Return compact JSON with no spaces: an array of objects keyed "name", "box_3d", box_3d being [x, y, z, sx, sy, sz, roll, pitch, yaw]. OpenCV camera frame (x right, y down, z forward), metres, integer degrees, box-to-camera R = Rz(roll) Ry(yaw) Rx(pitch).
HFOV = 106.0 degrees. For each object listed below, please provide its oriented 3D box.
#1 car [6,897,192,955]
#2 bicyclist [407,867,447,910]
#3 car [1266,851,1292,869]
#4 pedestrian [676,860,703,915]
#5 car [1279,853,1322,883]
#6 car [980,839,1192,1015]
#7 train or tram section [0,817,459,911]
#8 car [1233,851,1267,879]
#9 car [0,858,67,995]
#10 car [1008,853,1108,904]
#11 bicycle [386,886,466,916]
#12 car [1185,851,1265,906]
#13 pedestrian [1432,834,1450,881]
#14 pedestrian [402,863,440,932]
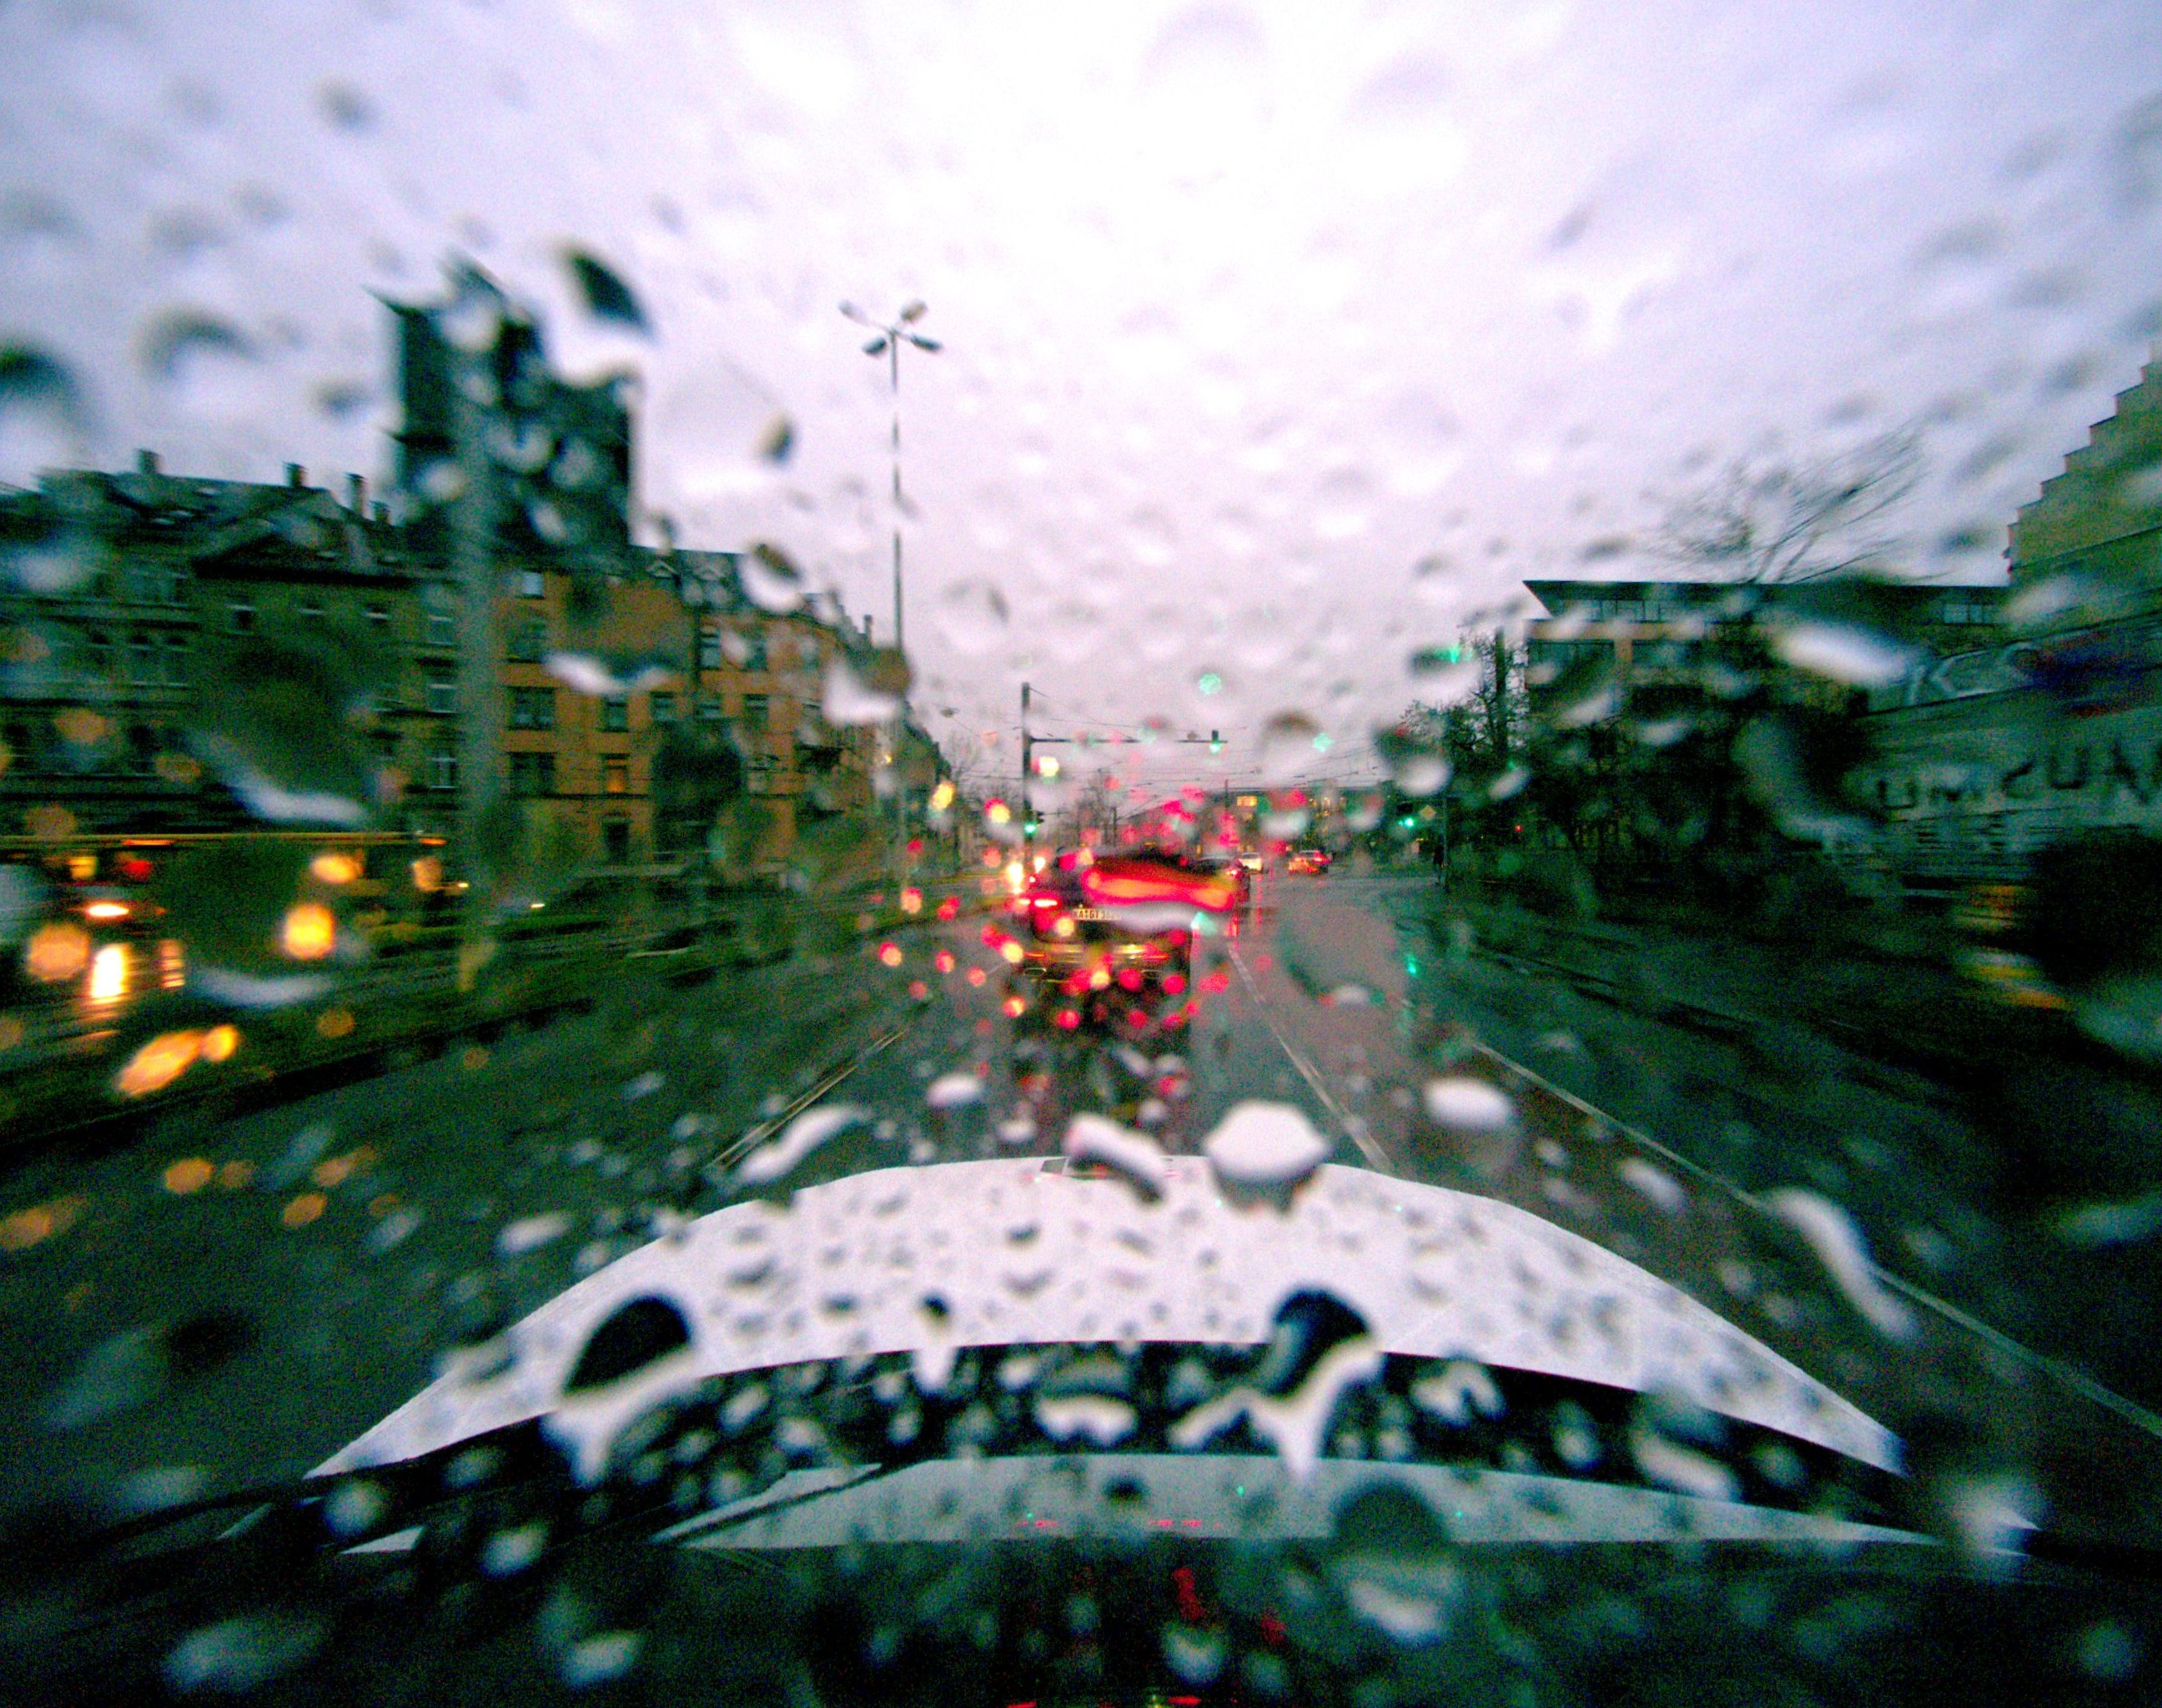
[{"name":"car","box_3d":[-27.201,1.955,22.606,3.814,1.450,1.654,-1,0,11]},{"name":"bicyclist","box_3d":[-21.460,1.120,26.731,0.973,1.390,0.501,-1,0,-34]},{"name":"car","box_3d":[15.950,0.466,65.862,1.850,1.409,3.956,-1,0,11]},{"name":"pedestrian","box_3d":[-12.740,1.077,26.492,0.463,1.772,0.631,-1,-1,16]},{"name":"car","box_3d":[13.729,0.850,50.832,1.976,1.765,4.022,-1,0,23]},{"name":"car","box_3d":[0.072,0.687,9.761,1.984,1.616,4.000,-2,0,0]},{"name":"train or tram section","box_3d":[-33.324,0.336,30.171,16.283,3.188,3.153,0,0,-15]},{"name":"car","box_3d":[11.641,0.735,55.917,1.978,1.765,4.017,-1,0,16]},{"name":"car","box_3d":[-15.777,1.055,10.127,2.004,1.946,4.813,-3,0,-26]},{"name":"car","box_3d":[-0.618,0.701,25.449,1.978,1.398,4.017,-1,0,15]},{"name":"bicycle","box_3d":[-21.461,1.527,26.728,1.992,0.900,0.501,-1,0,-34]},{"name":"car","box_3d":[5.236,0.837,29.195,1.976,1.765,4.021,-1,0,22]},{"name":"pedestrian","box_3d":[14.749,0.142,33.380,0.567,1.838,0.687,-3,1,22]},{"name":"pedestrian","box_3d":[-17.558,1.156,21.684,0.627,1.792,0.529,0,0,-18]}]
